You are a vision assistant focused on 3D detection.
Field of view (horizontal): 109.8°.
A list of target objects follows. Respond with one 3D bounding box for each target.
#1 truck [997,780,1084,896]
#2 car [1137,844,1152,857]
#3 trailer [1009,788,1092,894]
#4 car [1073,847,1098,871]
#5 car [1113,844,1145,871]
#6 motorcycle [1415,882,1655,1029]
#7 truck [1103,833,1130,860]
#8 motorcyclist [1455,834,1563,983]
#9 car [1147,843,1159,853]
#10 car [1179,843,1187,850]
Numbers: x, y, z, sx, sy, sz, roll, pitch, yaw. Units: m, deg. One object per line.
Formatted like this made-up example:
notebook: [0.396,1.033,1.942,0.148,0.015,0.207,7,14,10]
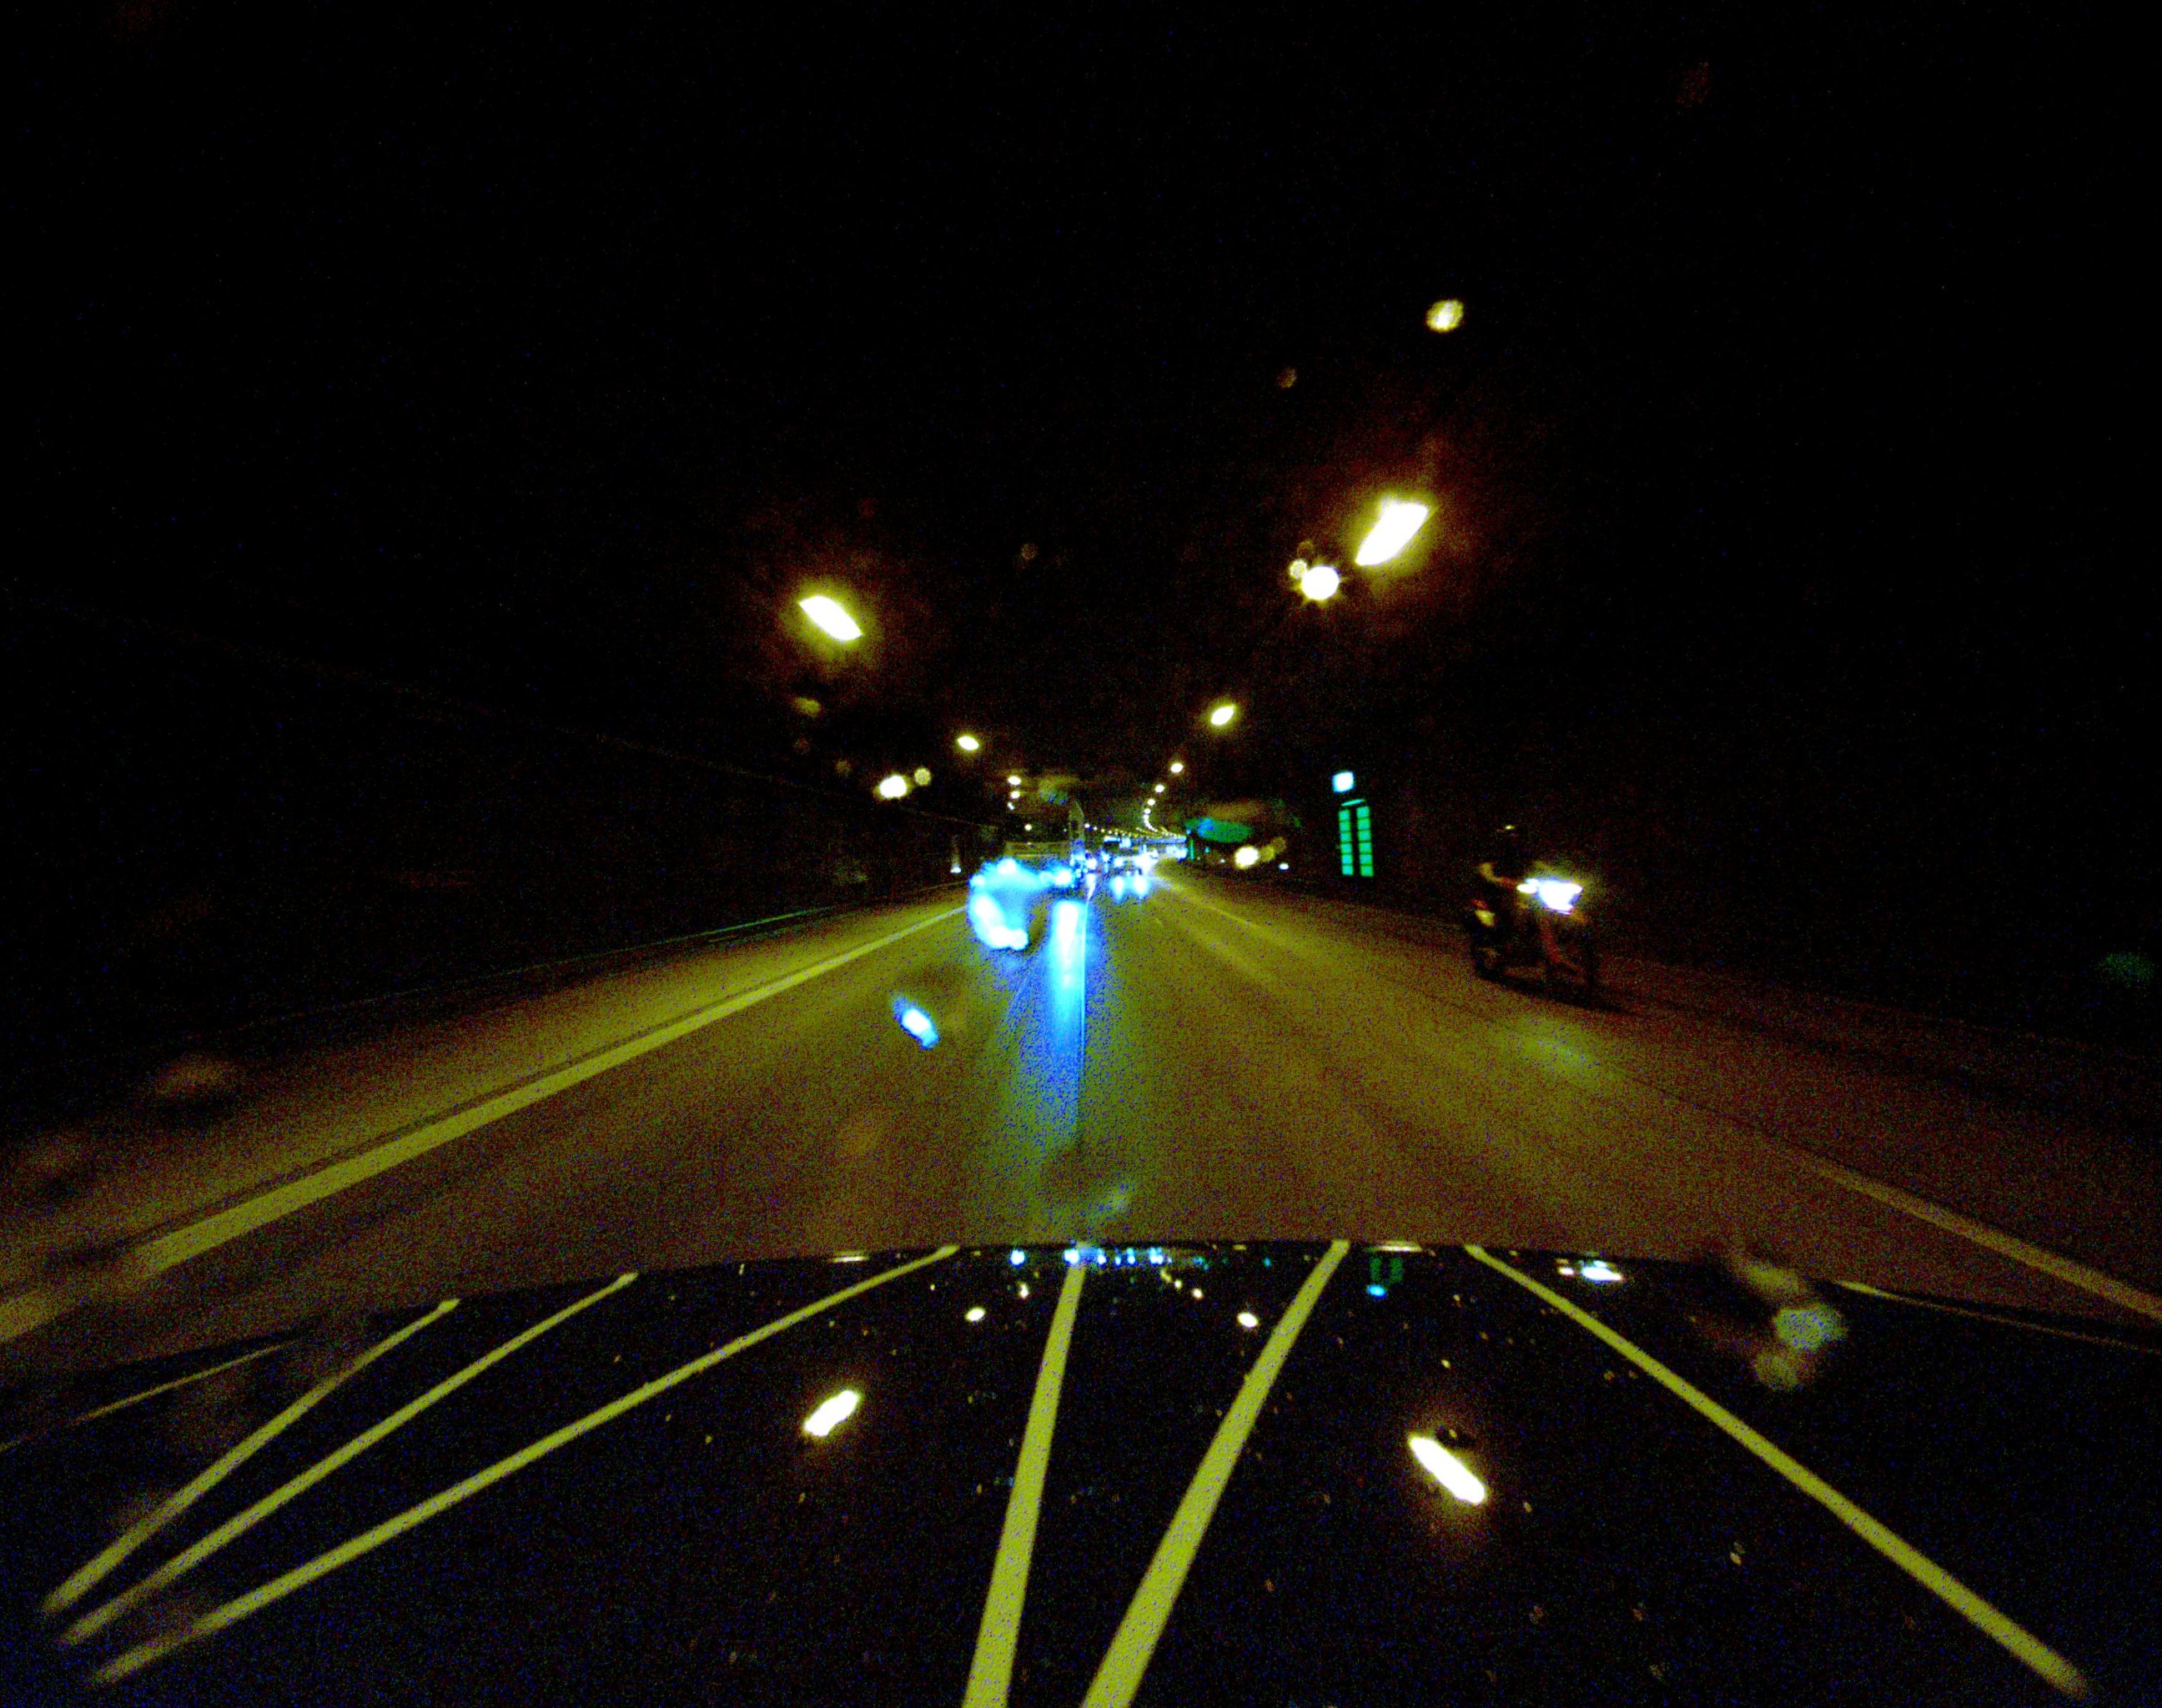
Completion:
truck: [-1.476,-0.605,30.831,2.652,4.139,6.006,-2,1,4]
car: [9.559,-0.534,114.001,1.997,1.788,4.001,-2,1,7]
trailer: [-1.132,-0.585,37.618,2.626,4.139,14.002,-3,0,3]
car: [0.375,0.378,62.864,1.839,1.849,4.288,-1,1,3]
car: [3.564,0.246,56.879,1.999,1.890,3.999,-2,0,-1]
motorcycle: [4.498,0.931,7.848,1.056,1.151,2.427,-1,1,1]
truck: [5.353,-1.185,113.421,2.899,3.820,9.001,-2,1,9]
motorcyclist: [4.484,0.541,8.011,0.628,1.481,0.890,-1,1,1]
car: [13.330,-1.131,140.678,1.997,1.788,4.002,-2,1,8]
car: [29.350,-2.191,218.478,1.997,1.788,4.003,-2,1,12]
